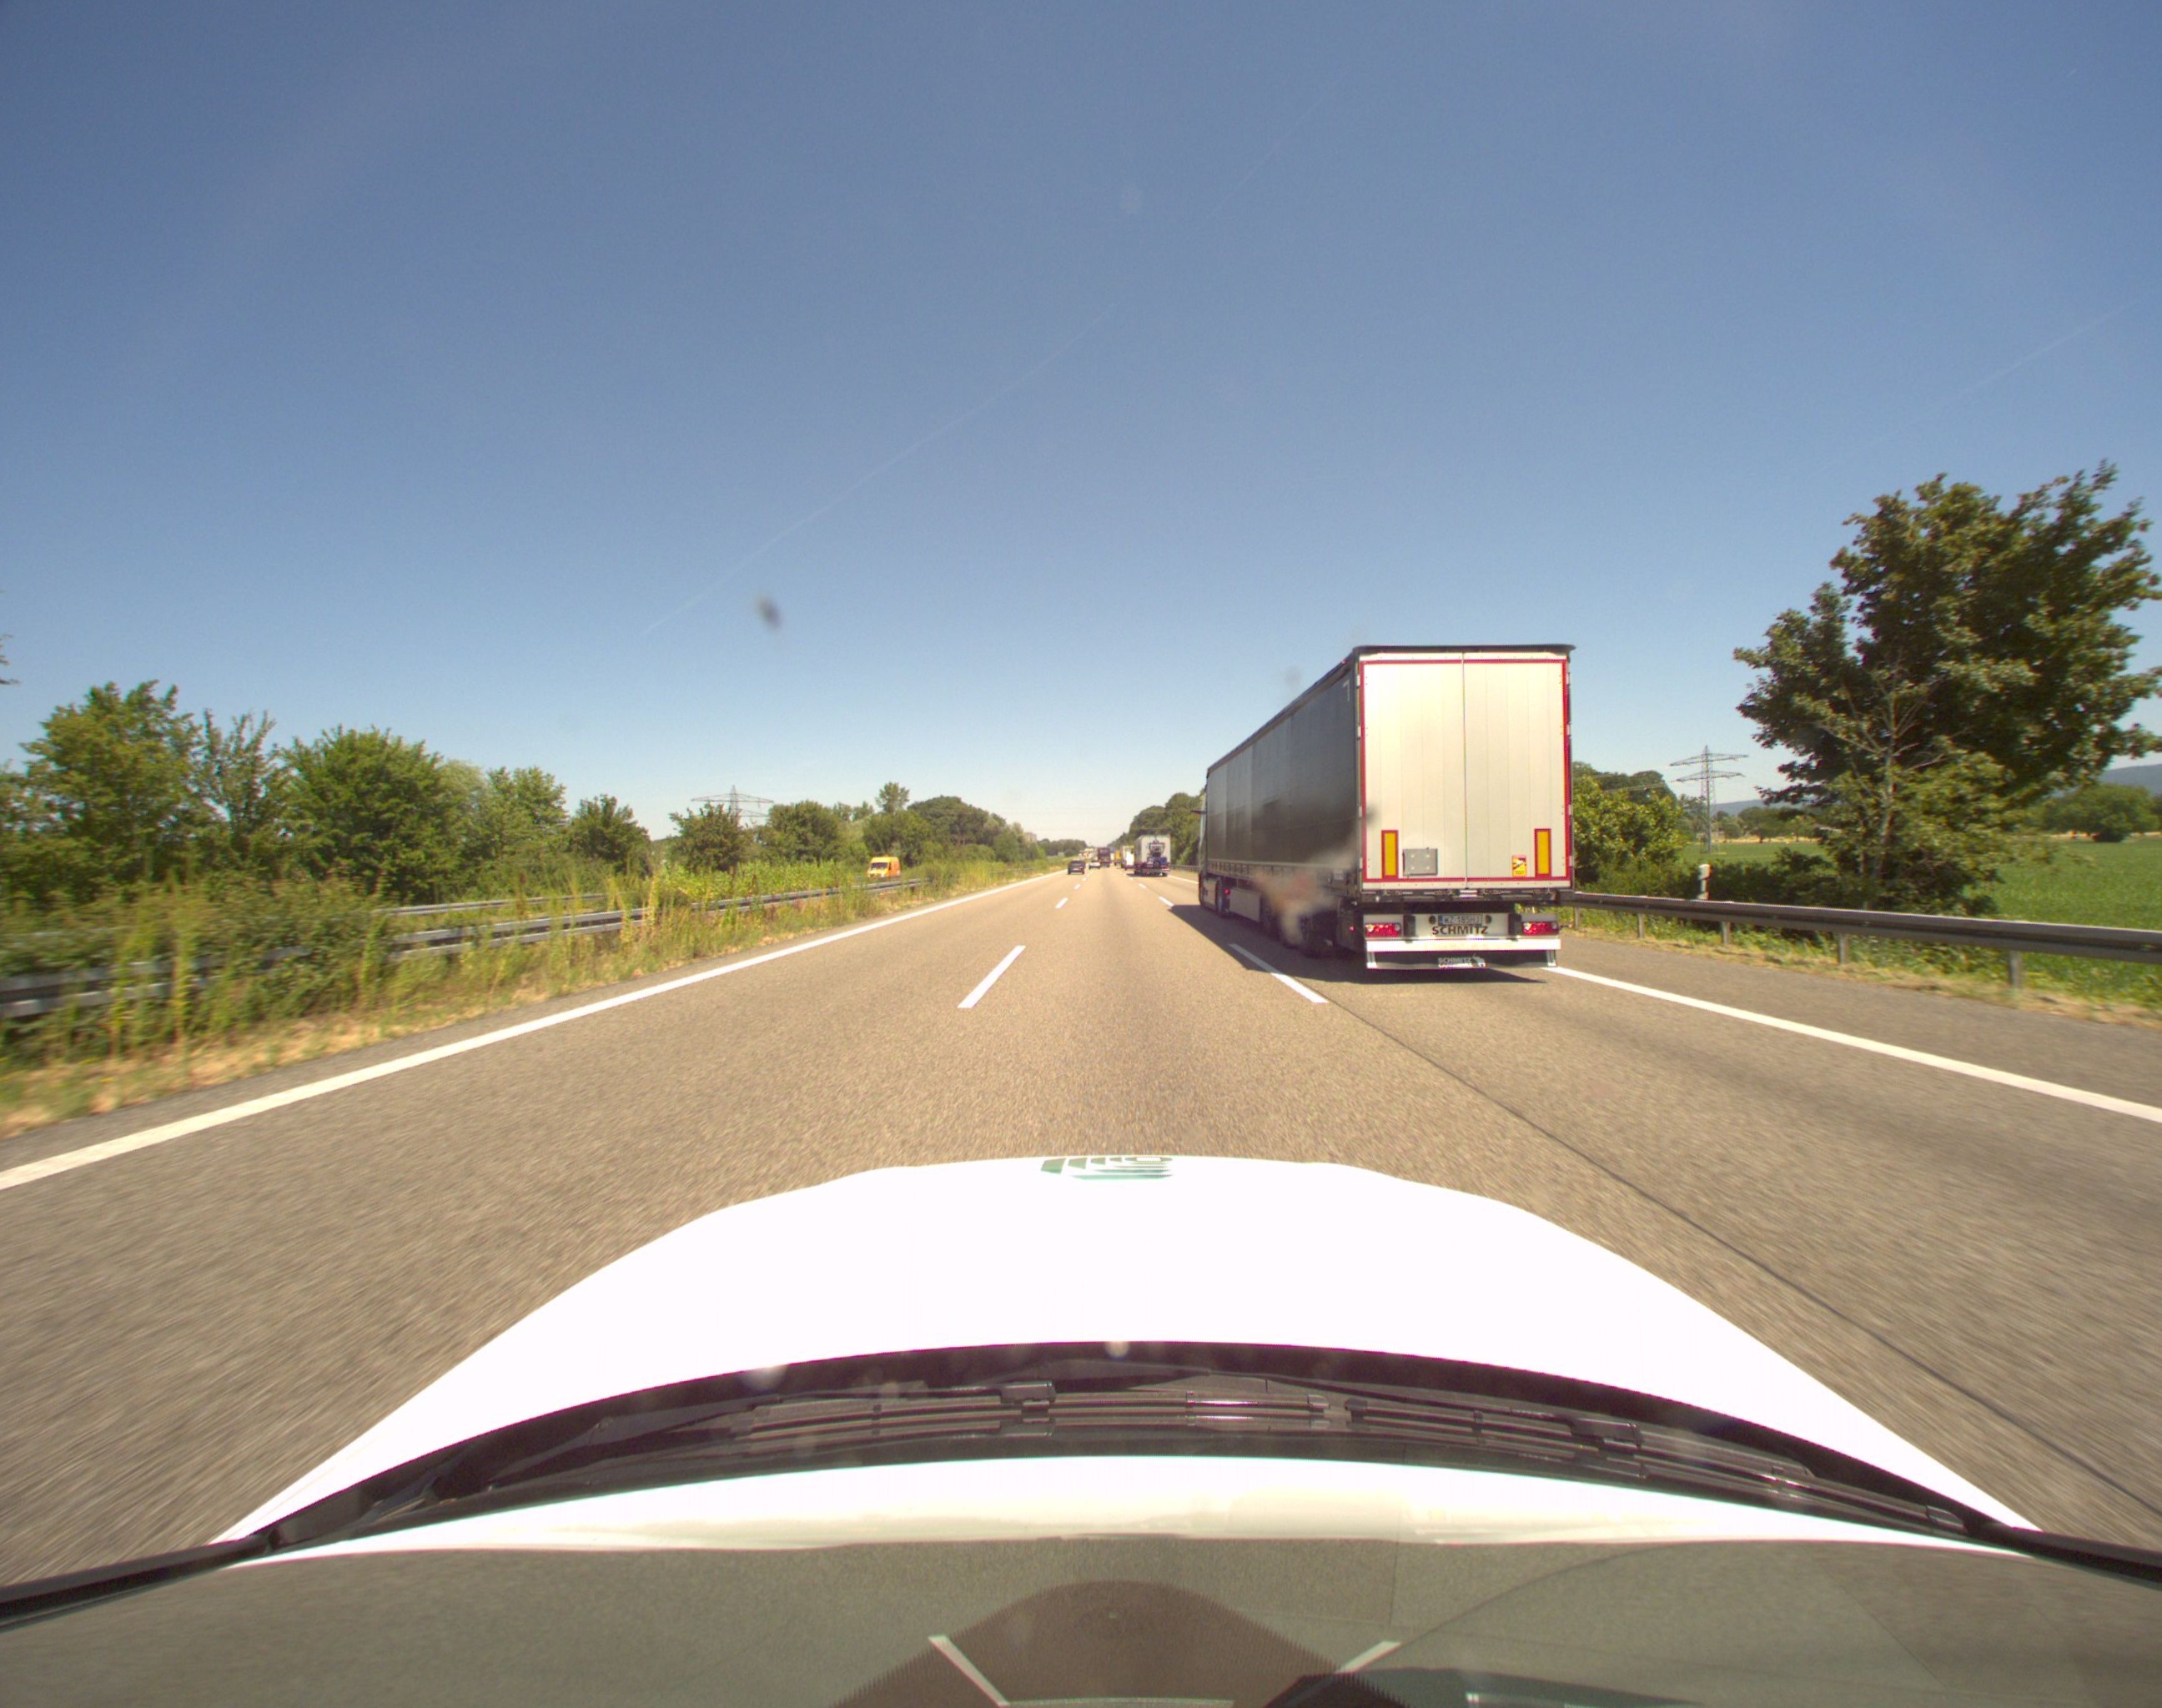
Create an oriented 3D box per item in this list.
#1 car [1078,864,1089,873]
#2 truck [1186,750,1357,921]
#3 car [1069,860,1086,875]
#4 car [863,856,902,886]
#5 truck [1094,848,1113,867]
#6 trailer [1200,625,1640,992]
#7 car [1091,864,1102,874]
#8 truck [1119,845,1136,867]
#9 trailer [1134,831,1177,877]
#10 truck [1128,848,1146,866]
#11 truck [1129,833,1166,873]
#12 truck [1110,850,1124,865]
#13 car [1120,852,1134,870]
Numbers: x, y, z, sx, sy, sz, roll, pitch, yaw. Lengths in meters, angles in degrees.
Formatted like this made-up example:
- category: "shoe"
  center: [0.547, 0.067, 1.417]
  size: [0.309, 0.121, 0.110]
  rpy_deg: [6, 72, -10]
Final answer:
- category: "car"
  center: [0.469, 2.663, 152.880]
  size: [1.894, 1.531, 4.085]
  rpy_deg: [0, 1, 1]
- category: "truck"
  center: [5.088, -0.401, 23.276]
  size: [3.451, 4.177, 6.846]
  rpy_deg: [0, -1, 1]
- category: "car"
  center: [-0.391, 1.467, 89.342]
  size: [1.753, 1.531, 4.287]
  rpy_deg: [0, 1, 1]
- category: "car"
  center: [-18.731, 1.569, 77.149]
  size: [2.096, 2.557, 6.183]
  rpy_deg: [-2, 1, -1]
- category: "truck"
  center: [4.597, 0.598, 165.767]
  size: [3.653, 3.725, 7.113]
  rpy_deg: [0, 1, 3]
- category: "trailer"
  center: [4.848, -0.496, 16.103]
  size: [3.422, 4.181, 13.637]
  rpy_deg: [0, 0, 2]
- category: "car"
  center: [2.573, 2.405, 135.588]
  size: [1.894, 1.531, 4.085]
  rpy_deg: [0, 1, 1]
- category: "truck"
  center: [8.083, 0.350, 141.644]
  size: [2.781, 3.725, 7.113]
  rpy_deg: [0, 1, 3]
- category: "trailer"
  center: [6.661, -0.031, 74.098]
  size: [3.112, 3.926, 9.937]
  rpy_deg: [0, 1, 1]
- category: "truck"
  center: [11.336, 0.587, 165.711]
  size: [3.653, 3.725, 7.113]
  rpy_deg: [0, 1, 3]
- category: "truck"
  center: [6.726, -0.147, 84.035]
  size: [3.048, 3.879, 10.032]
  rpy_deg: [0, 1, 0]
- category: "truck"
  center: [9.082, 0.871, 206.504]
  size: [3.475, 3.725, 7.113]
  rpy_deg: [0, 1, 3]
- category: "car"
  center: [6.526, 1.017, 115.849]
  size: [1.900, 2.425, 4.287]
  rpy_deg: [0, 1, 1]
